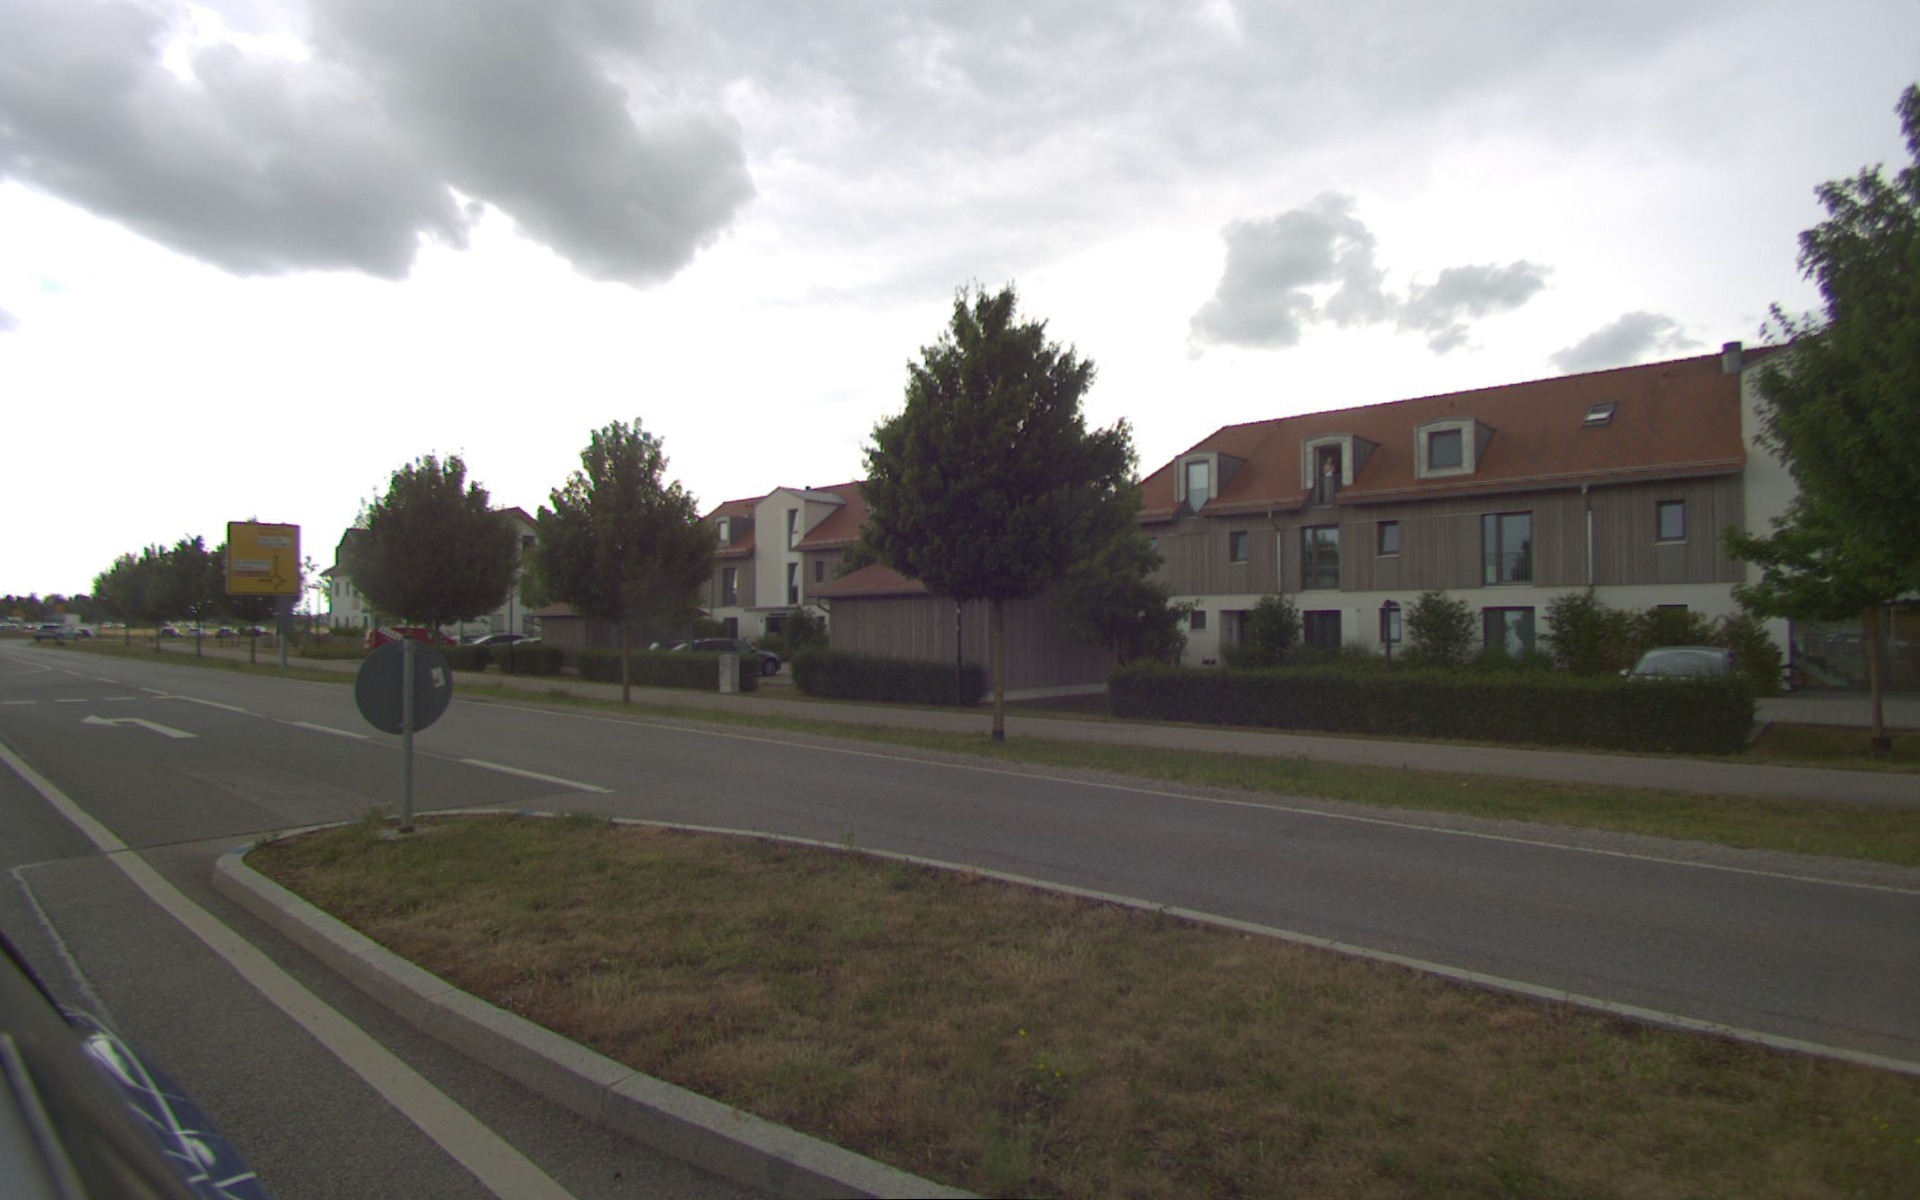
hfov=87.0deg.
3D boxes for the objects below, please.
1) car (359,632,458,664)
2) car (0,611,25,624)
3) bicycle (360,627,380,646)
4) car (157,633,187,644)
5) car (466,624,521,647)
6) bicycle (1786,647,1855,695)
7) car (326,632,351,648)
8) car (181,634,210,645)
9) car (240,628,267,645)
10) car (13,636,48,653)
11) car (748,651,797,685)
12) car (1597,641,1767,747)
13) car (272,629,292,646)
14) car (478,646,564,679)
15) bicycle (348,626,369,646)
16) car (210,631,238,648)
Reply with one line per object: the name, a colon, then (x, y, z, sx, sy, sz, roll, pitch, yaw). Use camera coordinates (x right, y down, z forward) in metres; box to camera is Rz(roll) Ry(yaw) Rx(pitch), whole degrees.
car: (-32.969, 2.895, 60.556, 4.847, 1.830, 1.908, 4, -4, -43)
car: (-110.829, 2.064, 118.381, 3.999, 1.455, 1.751, -2, -4, 42)
bicycle: (-44.335, 2.750, 76.044, 2.094, 1.439, 0.675, -2, -4, 42)
car: (-97.698, 4.841, 125.471, 1.965, 1.298, 4.013, 2, -3, -24)
car: (-31.915, 2.457, 69.169, 3.999, 1.519, 1.972, -2, -4, 42)
bicycle: (21.199, 1.732, 24.947, 1.270, 1.154, 0.357, -2, -4, 42)
car: (-82.368, 5.288, 134.197, 1.965, 2.029, 4.012, 2, -3, -21)
car: (-95.205, 4.920, 126.145, 1.965, 1.298, 4.013, 2, -3, -24)
car: (-89.587, 4.671, 128.364, 1.965, 2.029, 4.013, 2, -3, -24)
car: (-78.928, 3.770, 85.883, 3.999, 1.455, 1.751, -2, -4, 42)
car: (-7.477, 2.673, 40.162, 1.633, 1.254, 4.010, 2, -3, -14)
car: (13.133, 1.589, 18.313, 2.000, 1.568, 3.943, -2, -1, 43)
car: (-86.632, 4.794, 129.404, 1.966, 2.029, 4.011, 3, -4, -33)
car: (-21.213, 3.032, 48.976, 1.563, 1.501, 3.477, -2, -4, 41)
bicycle: (-44.842, 2.683, 75.405, 2.094, 1.428, 0.675, -2, -4, 42)
car: (-92.746, 5.032, 127.504, 1.965, 2.029, 4.013, 2, -3, -24)
